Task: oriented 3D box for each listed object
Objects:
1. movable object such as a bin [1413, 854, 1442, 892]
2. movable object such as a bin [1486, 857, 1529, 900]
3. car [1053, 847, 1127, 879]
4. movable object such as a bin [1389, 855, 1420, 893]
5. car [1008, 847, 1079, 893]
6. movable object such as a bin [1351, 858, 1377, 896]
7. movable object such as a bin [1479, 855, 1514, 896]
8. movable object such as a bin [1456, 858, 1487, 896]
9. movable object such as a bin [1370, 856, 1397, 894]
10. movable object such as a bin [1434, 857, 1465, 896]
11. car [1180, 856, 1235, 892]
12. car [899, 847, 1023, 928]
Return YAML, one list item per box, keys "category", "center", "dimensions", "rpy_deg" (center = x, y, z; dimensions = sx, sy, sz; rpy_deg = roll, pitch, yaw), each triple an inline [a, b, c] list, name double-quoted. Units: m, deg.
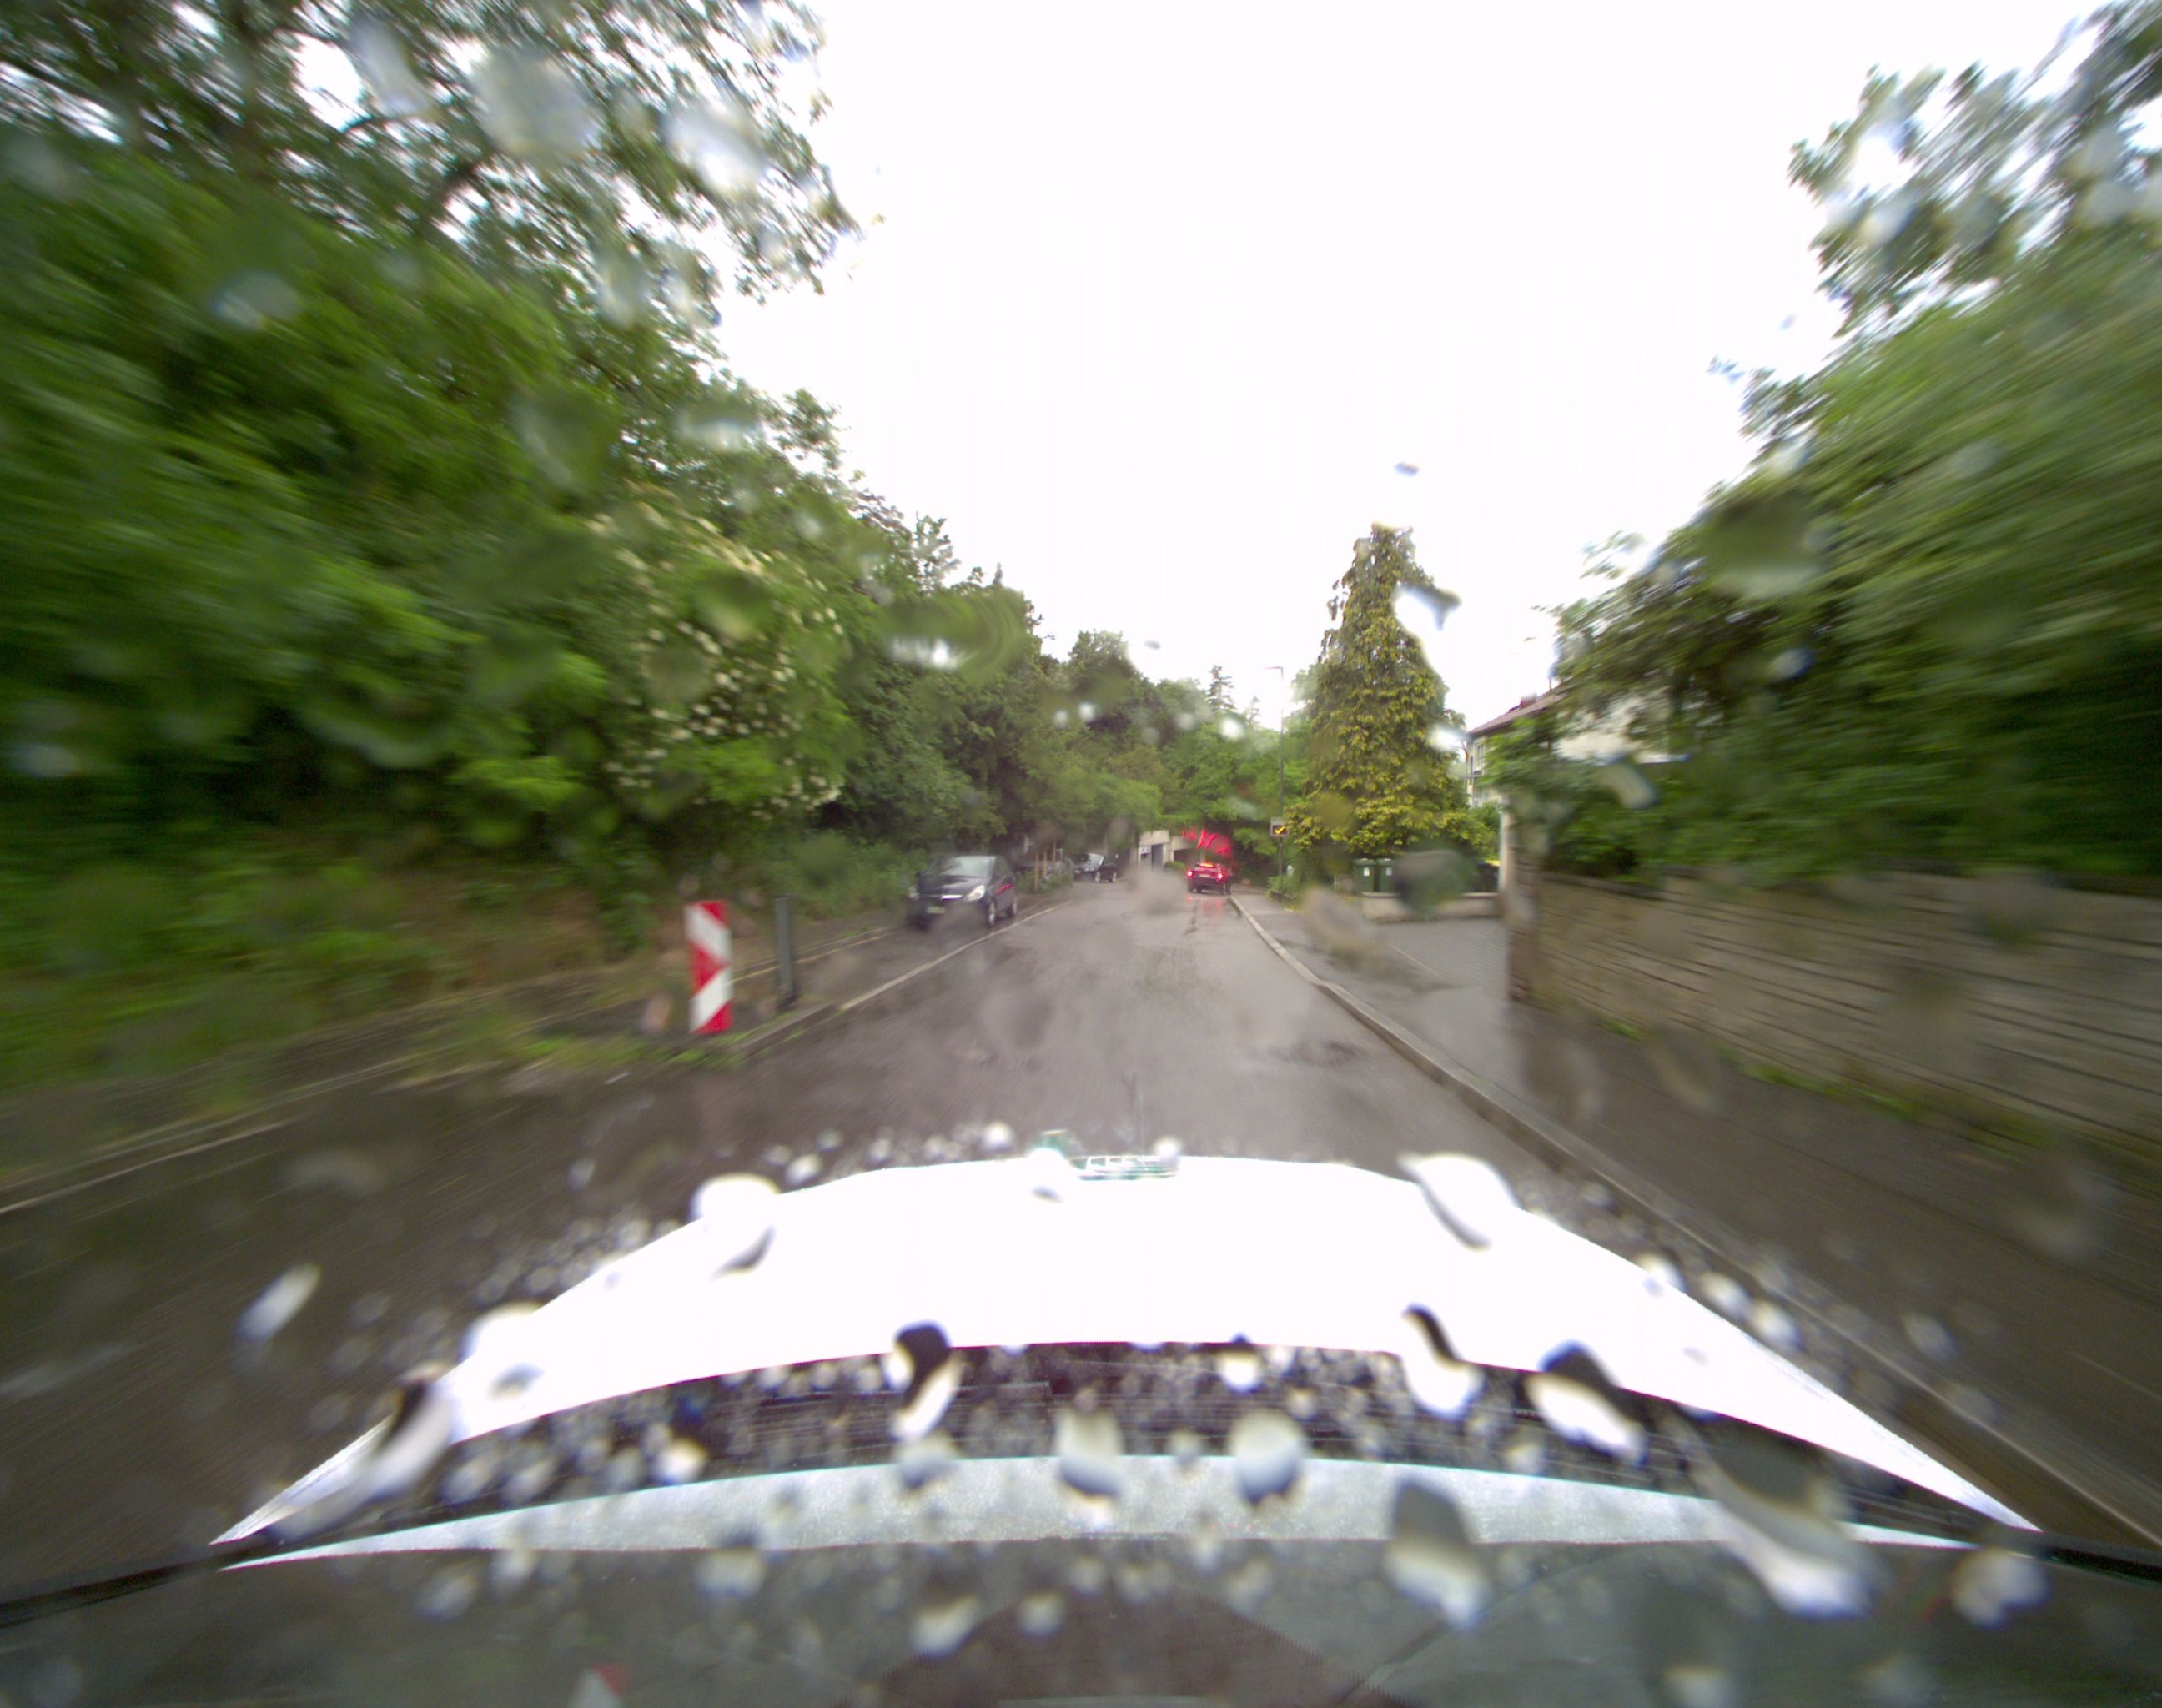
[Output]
- category: "movable object such as a bin"
  center: [9.972, 0.542, 23.456]
  dimensions: [0.578, 1.067, 0.702]
  rpy_deg: [-1, 0, 4]
- category: "movable object such as a bin"
  center: [11.950, 0.677, 22.833]
  dimensions: [0.810, 1.066, 0.710]
  rpy_deg: [-4, 5, 4]
- category: "car"
  center: [0.530, 0.437, 40.950]
  dimensions: [1.976, 1.508, 4.596]
  rpy_deg: [1, 0, 24]
- category: "movable object such as a bin"
  center: [9.285, 0.575, 23.390]
  dimensions: [0.623, 1.067, 0.702]
  rpy_deg: [-1, 0, 4]
- category: "car"
  center: [-1.361, 0.564, 31.463]
  dimensions: [1.982, 1.640, 4.009]
  rpy_deg: [1, 0, 8]
- category: "movable object such as a bin"
  center: [8.146, 0.667, 23.461]
  dimensions: [0.558, 1.067, 0.703]
  rpy_deg: [-1, 0, 5]
- category: "movable object such as a bin"
  center: [12.011, 0.624, 23.546]
  dimensions: [0.696, 1.066, 0.584]
  rpy_deg: [-4, 5, 4]
- category: "movable object such as a bin"
  center: [11.195, 0.640, 23.368]
  dimensions: [0.578, 1.067, 0.702]
  rpy_deg: [-1, 0, 4]
- category: "movable object such as a bin"
  center: [8.697, 0.590, 23.427]
  dimensions: [0.543, 1.067, 0.693]
  rpy_deg: [-1, 0, 4]
- category: "movable object such as a bin"
  center: [10.578, 0.644, 23.377]
  dimensions: [0.598, 1.086, 0.702]
  rpy_deg: [-1, 0, 4]
- category: "car"
  center: [6.205, 0.966, 39.516]
  dimensions: [1.854, 1.512, 4.111]
  rpy_deg: [4, 0, 18]
- category: "car"
  center: [-2.375, 0.603, 17.122]
  dimensions: [1.692, 1.471, 4.005]
  rpy_deg: [1, 1, 5]
